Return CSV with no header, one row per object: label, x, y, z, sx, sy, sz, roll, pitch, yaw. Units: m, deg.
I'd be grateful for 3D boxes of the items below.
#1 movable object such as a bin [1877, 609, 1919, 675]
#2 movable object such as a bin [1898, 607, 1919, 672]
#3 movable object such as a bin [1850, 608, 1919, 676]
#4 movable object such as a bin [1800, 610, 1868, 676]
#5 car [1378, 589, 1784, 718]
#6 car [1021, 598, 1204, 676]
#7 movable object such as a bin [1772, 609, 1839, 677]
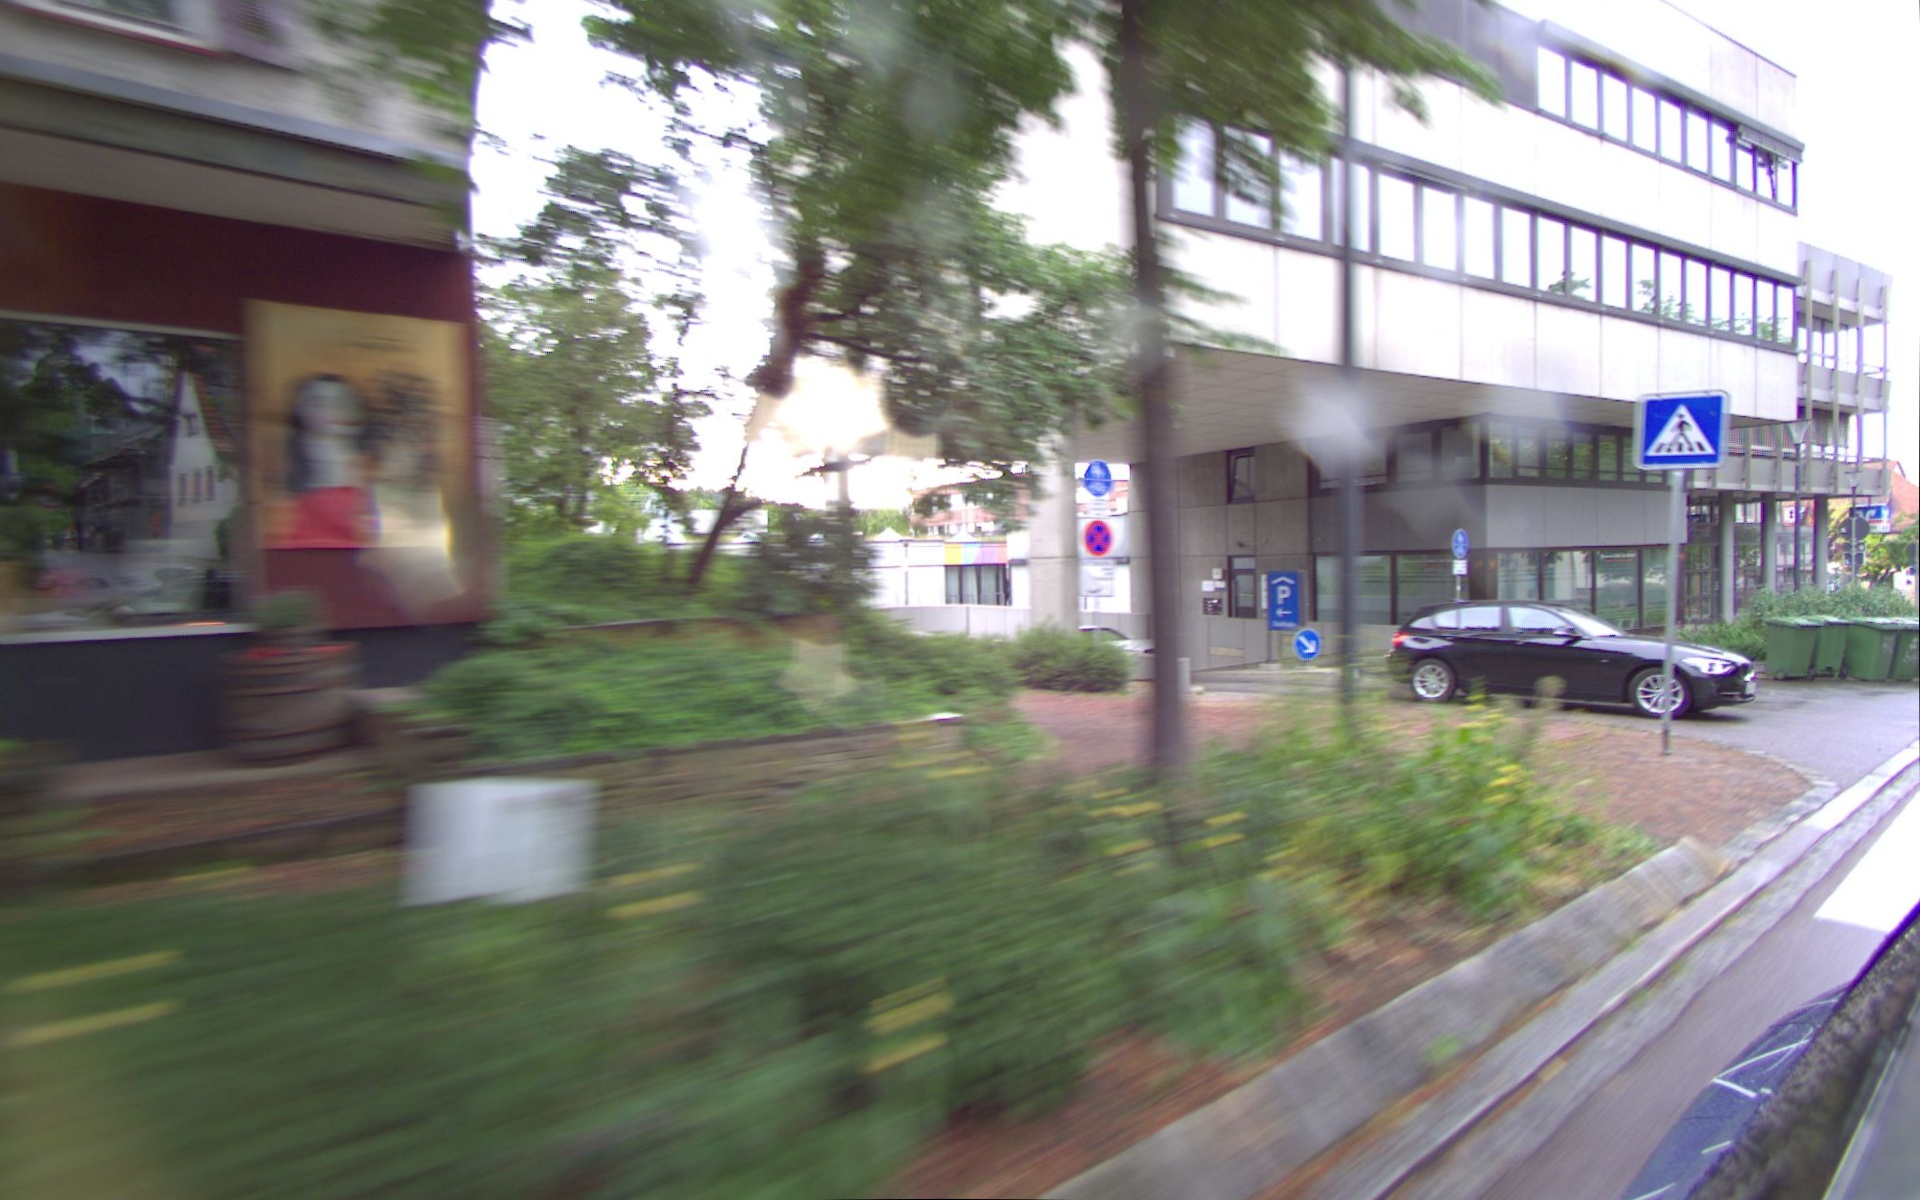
movable object such as a bin,16.860,0.730,17.929,0.559,1.121,0.707,0,2,-14
movable object such as a bin,17.575,0.724,18.316,0.559,1.138,0.707,-1,2,-25
movable object such as a bin,16.228,0.719,17.760,0.559,1.124,0.707,0,2,-15
movable object such as a bin,15.429,0.744,17.882,0.561,1.116,0.705,0,2,2
car,8.097,0.613,13.535,1.808,1.435,4.289,0,-1,-41
car,3.138,0.716,21.602,1.709,1.460,4.004,-2,1,-30
movable object such as a bin,14.705,0.736,17.618,0.561,1.116,0.705,0,2,2
